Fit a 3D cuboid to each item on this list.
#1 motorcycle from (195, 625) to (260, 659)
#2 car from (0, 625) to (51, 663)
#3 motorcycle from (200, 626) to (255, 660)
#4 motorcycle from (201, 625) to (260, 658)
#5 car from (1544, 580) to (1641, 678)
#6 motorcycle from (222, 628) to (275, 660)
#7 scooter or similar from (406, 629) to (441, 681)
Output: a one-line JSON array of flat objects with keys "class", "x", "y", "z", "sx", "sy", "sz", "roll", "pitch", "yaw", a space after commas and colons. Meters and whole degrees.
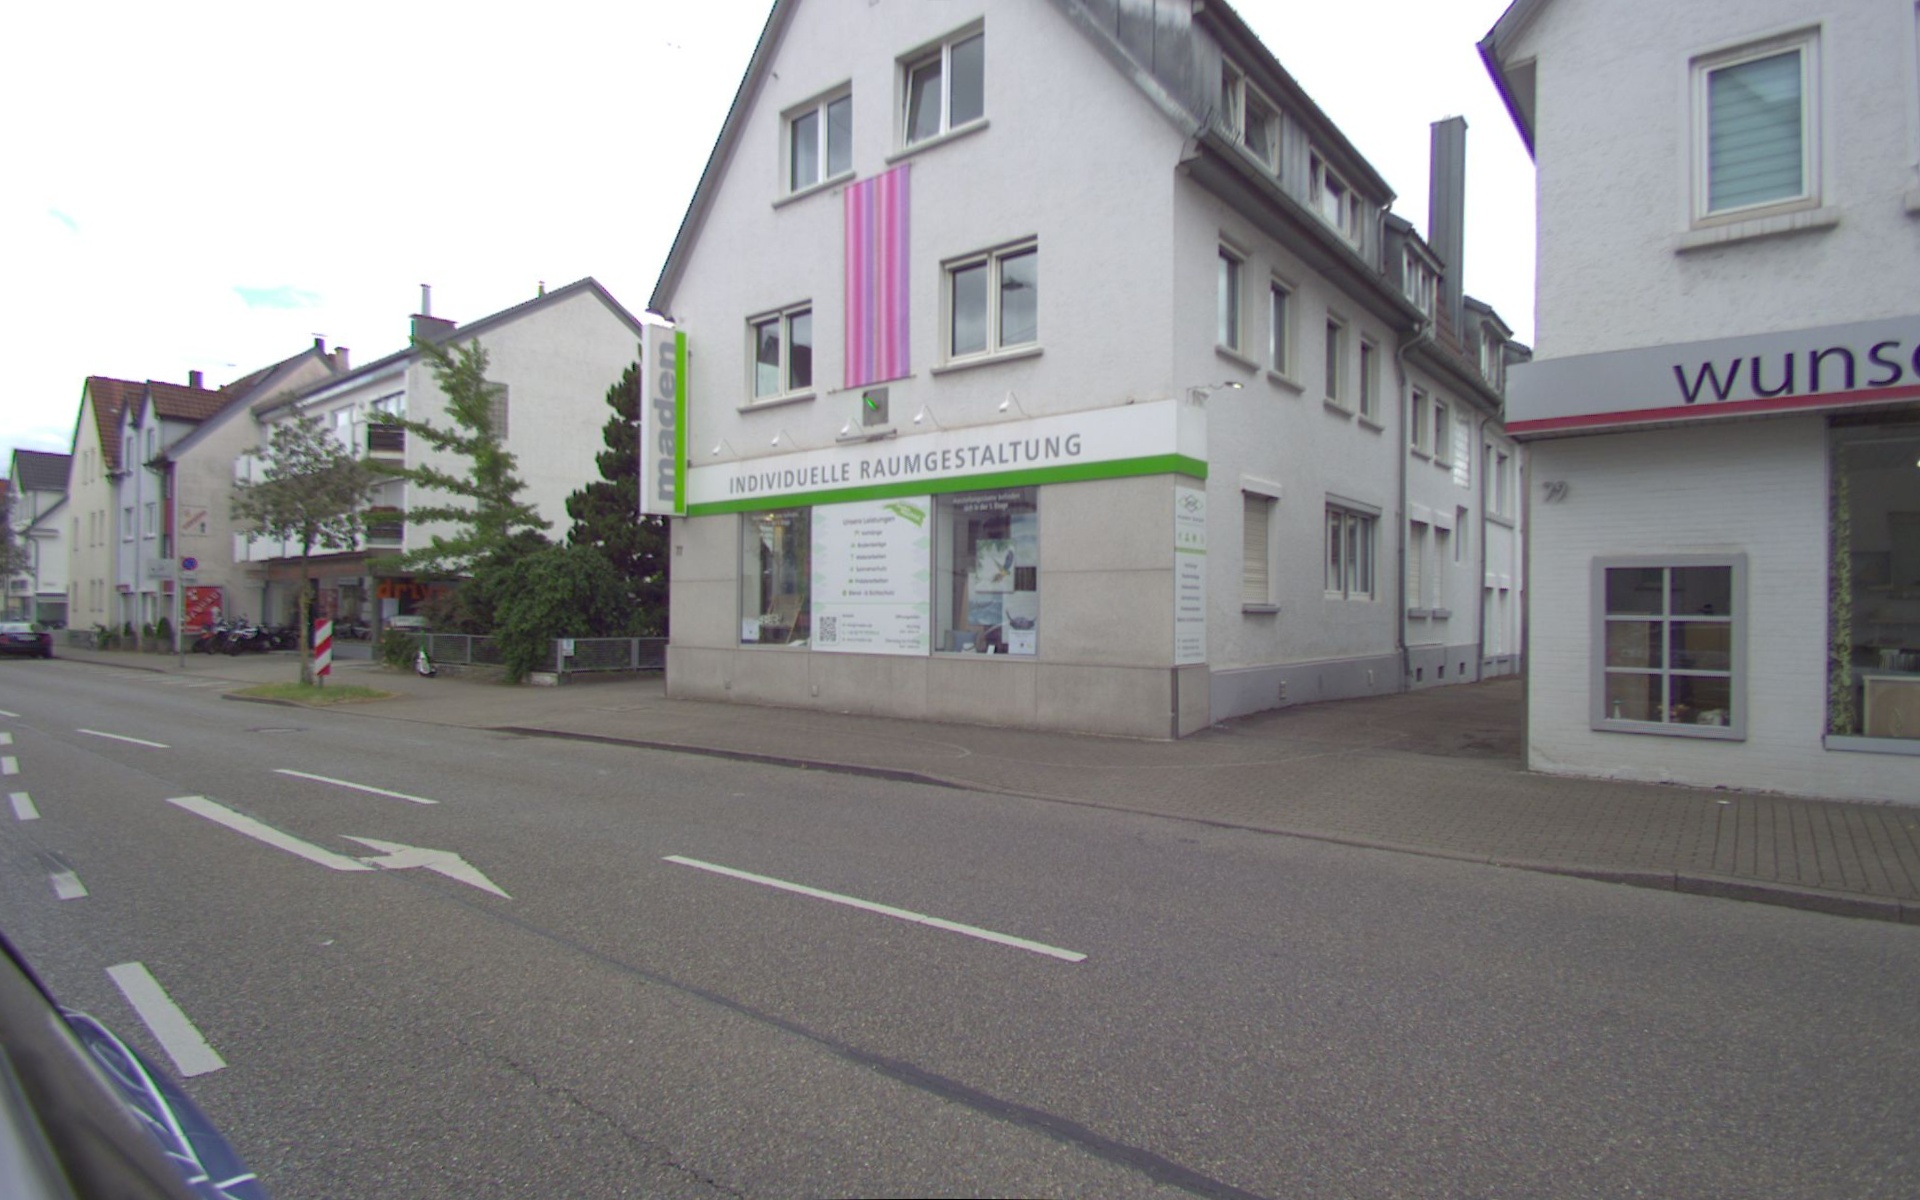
[{"class": "motorcycle", "x": -26.327, "y": 1.504, "z": 36.373, "sx": 0.504, "sy": 1.114, "sz": 1.811, "roll": -1, "pitch": 0, "yaw": 40}, {"class": "car", "x": -36.402, "y": 1.662, "z": 38.753, "sx": 3.993, "sy": 1.423, "sz": 1.614, "roll": -1, "pitch": -3, "yaw": 37}, {"class": "motorcycle", "x": -25.749, "y": 1.496, "z": 35.602, "sx": 1.494, "sy": 1.114, "sz": 0.590, "roll": -1, "pitch": 0, "yaw": -44}, {"class": "motorcycle", "x": -26.726, "y": 1.509, "z": 37.112, "sx": 0.558, "sy": 1.114, "sz": 1.657, "roll": -1, "pitch": 0, "yaw": 40}, {"class": "car", "x": 17.198, "y": 0.767, "z": 27.440, "sx": 1.996, "sy": 2.442, "sz": 3.952, "roll": 1, "pitch": -1, "yaw": 35}, {"class": "motorcycle", "x": -24.871, "y": 1.516, "z": 35.404, "sx": 0.525, "sy": 1.030, "sz": 1.411, "roll": -1, "pitch": 0, "yaw": 40}, {"class": "scooter or similar", "x": -12.256, "y": 1.239, "z": 23.110, "sx": 0.458, "sy": 1.132, "sz": 1.832, "roll": 0, "pitch": -1, "yaw": -35}]
